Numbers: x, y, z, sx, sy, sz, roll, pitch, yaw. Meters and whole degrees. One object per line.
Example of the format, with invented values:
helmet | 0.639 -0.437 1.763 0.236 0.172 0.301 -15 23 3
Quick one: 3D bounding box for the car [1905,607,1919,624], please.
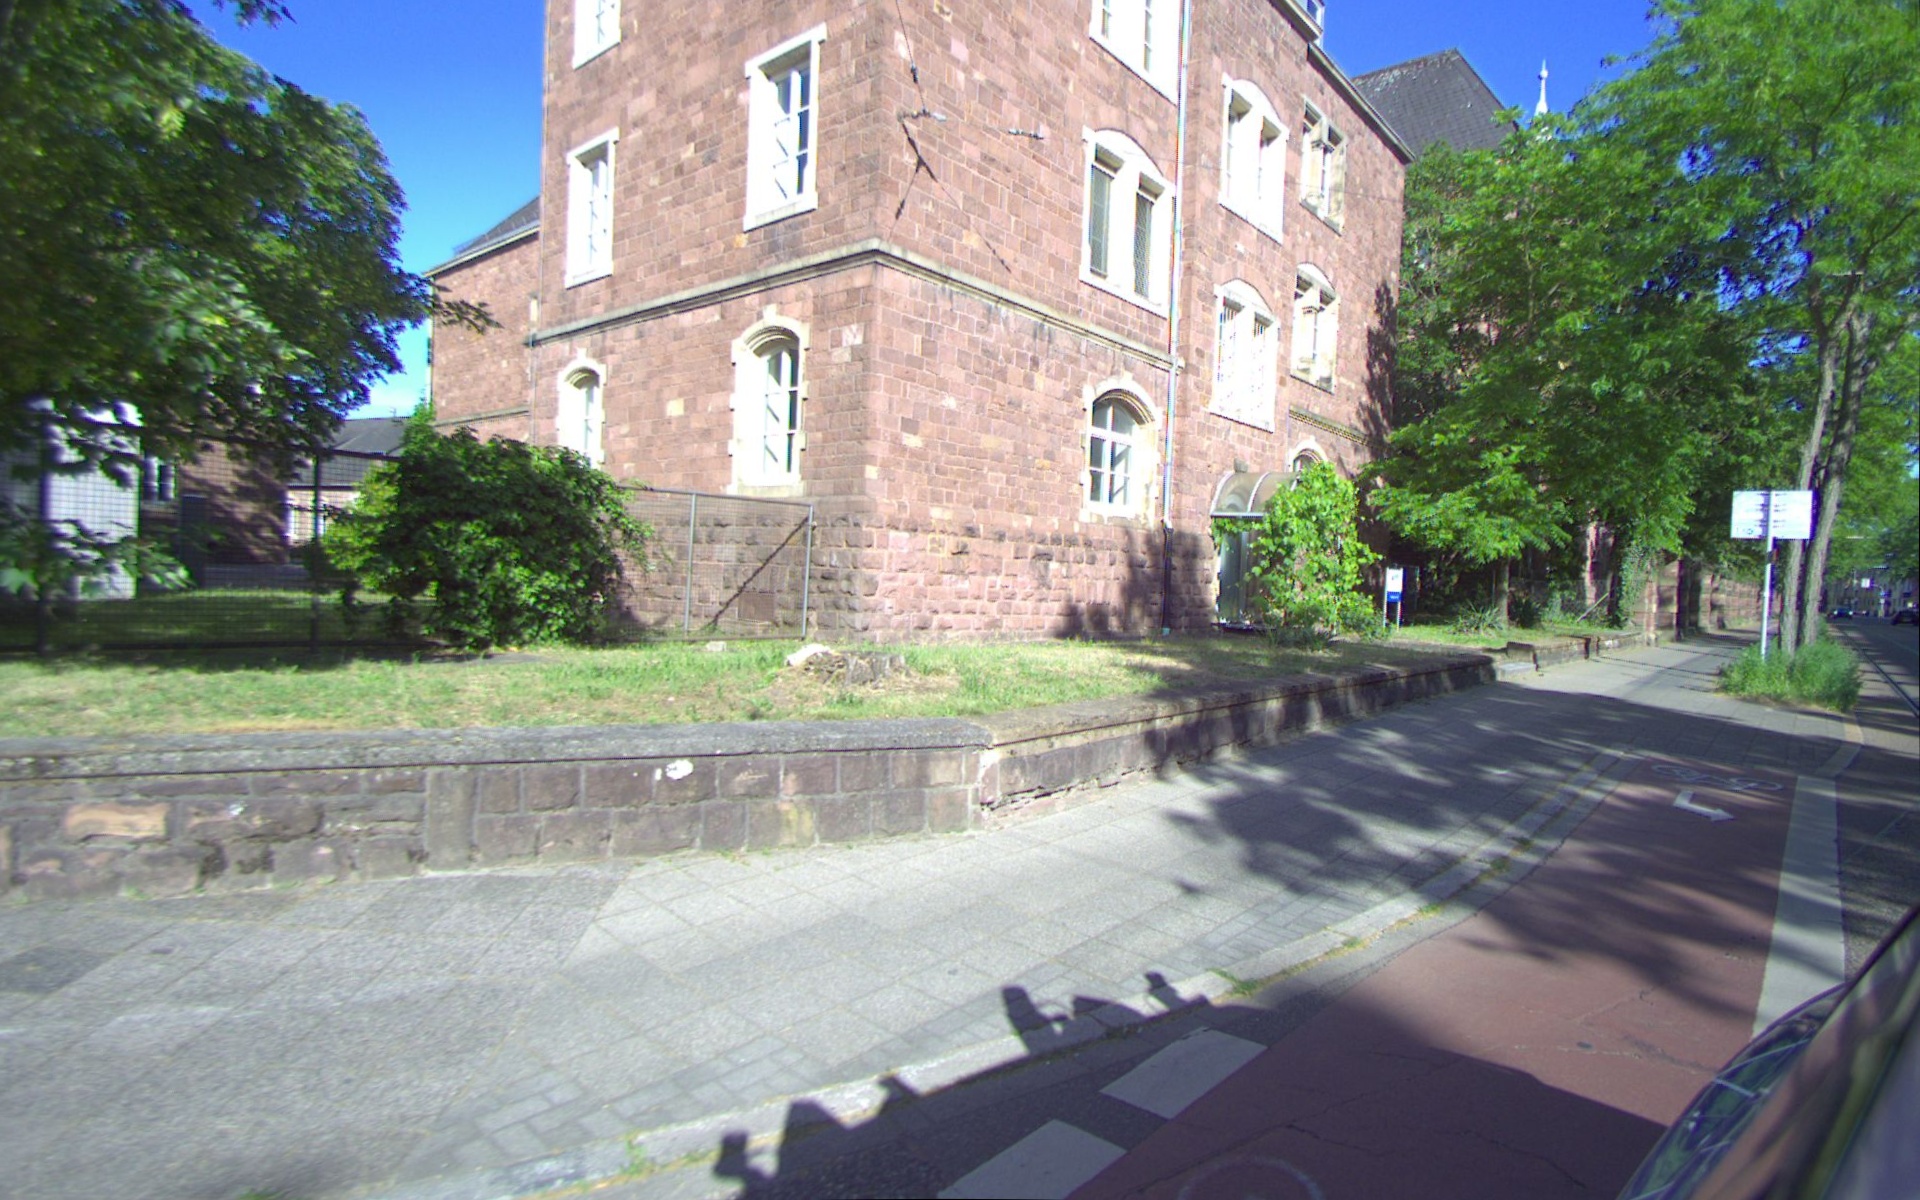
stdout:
car | 87.178 1.387 91.824 1.756 1.457 4.458 3 2 40
